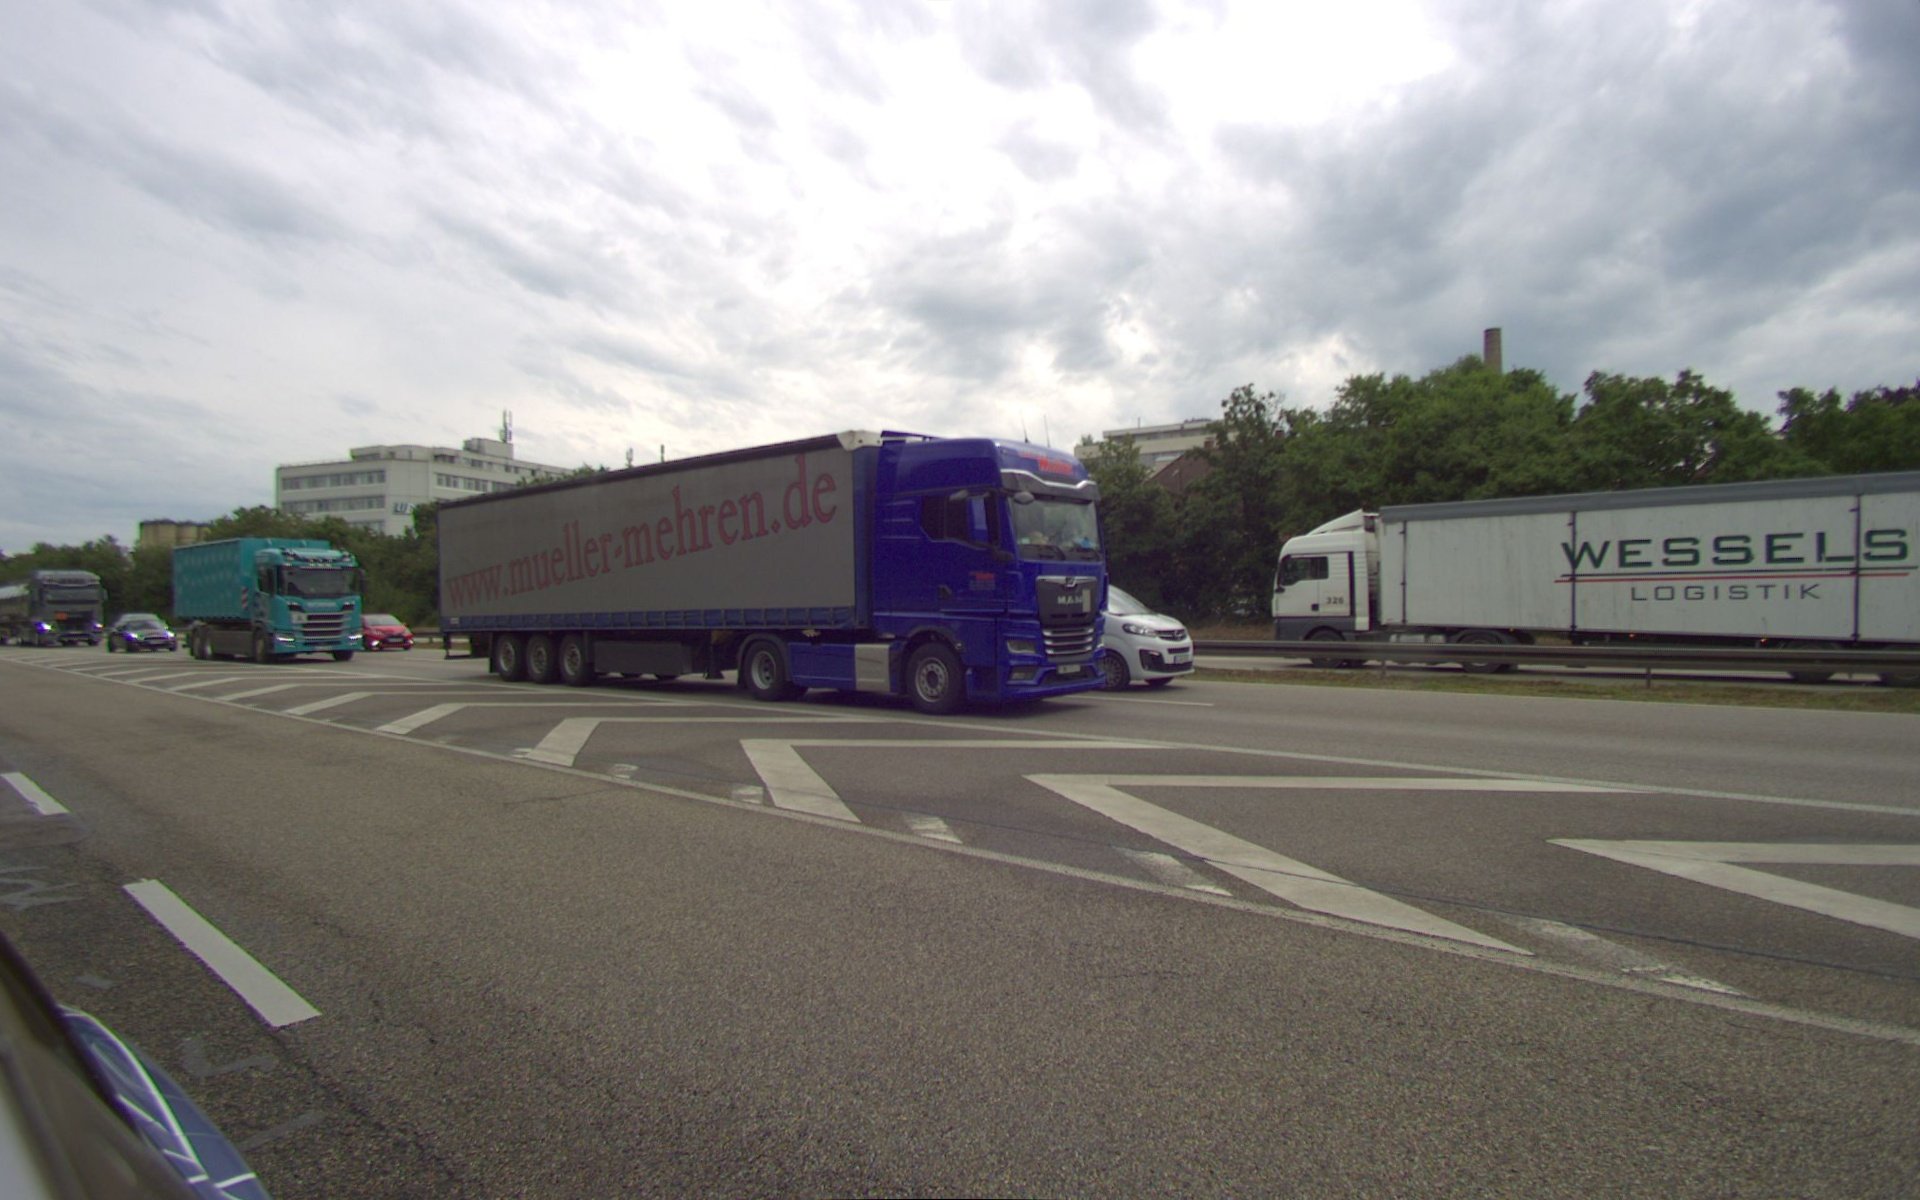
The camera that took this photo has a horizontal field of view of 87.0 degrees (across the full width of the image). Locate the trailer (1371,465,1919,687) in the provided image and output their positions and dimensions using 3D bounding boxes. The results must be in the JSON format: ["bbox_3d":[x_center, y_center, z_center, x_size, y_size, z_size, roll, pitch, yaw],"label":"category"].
[{"bbox_3d":[16.081,-0.380,21.129,13.776,4.012,2.566,-1,-1,41],"label":"trailer"}]

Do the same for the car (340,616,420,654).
[{"bbox_3d":[-22.942,1.372,40.003,3.446,1.429,1.724,-1,-1,41],"label":"car"}]

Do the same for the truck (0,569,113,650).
[{"bbox_3d":[-50.118,0.591,55.096,13.123,3.955,3.289,-1,-1,37],"label":"truck"}]

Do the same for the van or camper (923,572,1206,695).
[{"bbox_3d":[1.776,0.572,18.256,4.846,1.935,1.901,-1,-1,40],"label":"van or camper"}]

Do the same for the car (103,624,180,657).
[{"bbox_3d":[-34.901,1.710,43.119,3.995,1.332,1.735,-1,-1,38],"label":"car"}]

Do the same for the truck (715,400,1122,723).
[{"bbox_3d":[-0.802,-0.426,15.397,5.921,3.991,2.642,-1,-1,39],"label":"truck"}]

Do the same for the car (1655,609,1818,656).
[{"bbox_3d":[21.023,0.853,27.474,3.436,1.202,1.524,-1,-1,40],"label":"car"}]

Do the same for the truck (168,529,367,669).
[{"bbox_3d":[-23.180,0.061,33.563,10.113,4.031,2.667,-1,-1,39],"label":"truck"}]

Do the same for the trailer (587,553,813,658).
[{"bbox_3d":[-11.707,0.331,44.100,13.065,4.060,2.373,-1,-1,40],"label":"trailer"}]

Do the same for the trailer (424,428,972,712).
[{"bbox_3d":[-6.028,-0.304,19.691,13.906,4.005,2.646,-1,-1,39],"label":"trailer"}]

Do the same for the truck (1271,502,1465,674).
[{"bbox_3d":[10.468,-0.242,26.049,3.998,4.021,2.569,-1,-1,41],"label":"truck"}]
